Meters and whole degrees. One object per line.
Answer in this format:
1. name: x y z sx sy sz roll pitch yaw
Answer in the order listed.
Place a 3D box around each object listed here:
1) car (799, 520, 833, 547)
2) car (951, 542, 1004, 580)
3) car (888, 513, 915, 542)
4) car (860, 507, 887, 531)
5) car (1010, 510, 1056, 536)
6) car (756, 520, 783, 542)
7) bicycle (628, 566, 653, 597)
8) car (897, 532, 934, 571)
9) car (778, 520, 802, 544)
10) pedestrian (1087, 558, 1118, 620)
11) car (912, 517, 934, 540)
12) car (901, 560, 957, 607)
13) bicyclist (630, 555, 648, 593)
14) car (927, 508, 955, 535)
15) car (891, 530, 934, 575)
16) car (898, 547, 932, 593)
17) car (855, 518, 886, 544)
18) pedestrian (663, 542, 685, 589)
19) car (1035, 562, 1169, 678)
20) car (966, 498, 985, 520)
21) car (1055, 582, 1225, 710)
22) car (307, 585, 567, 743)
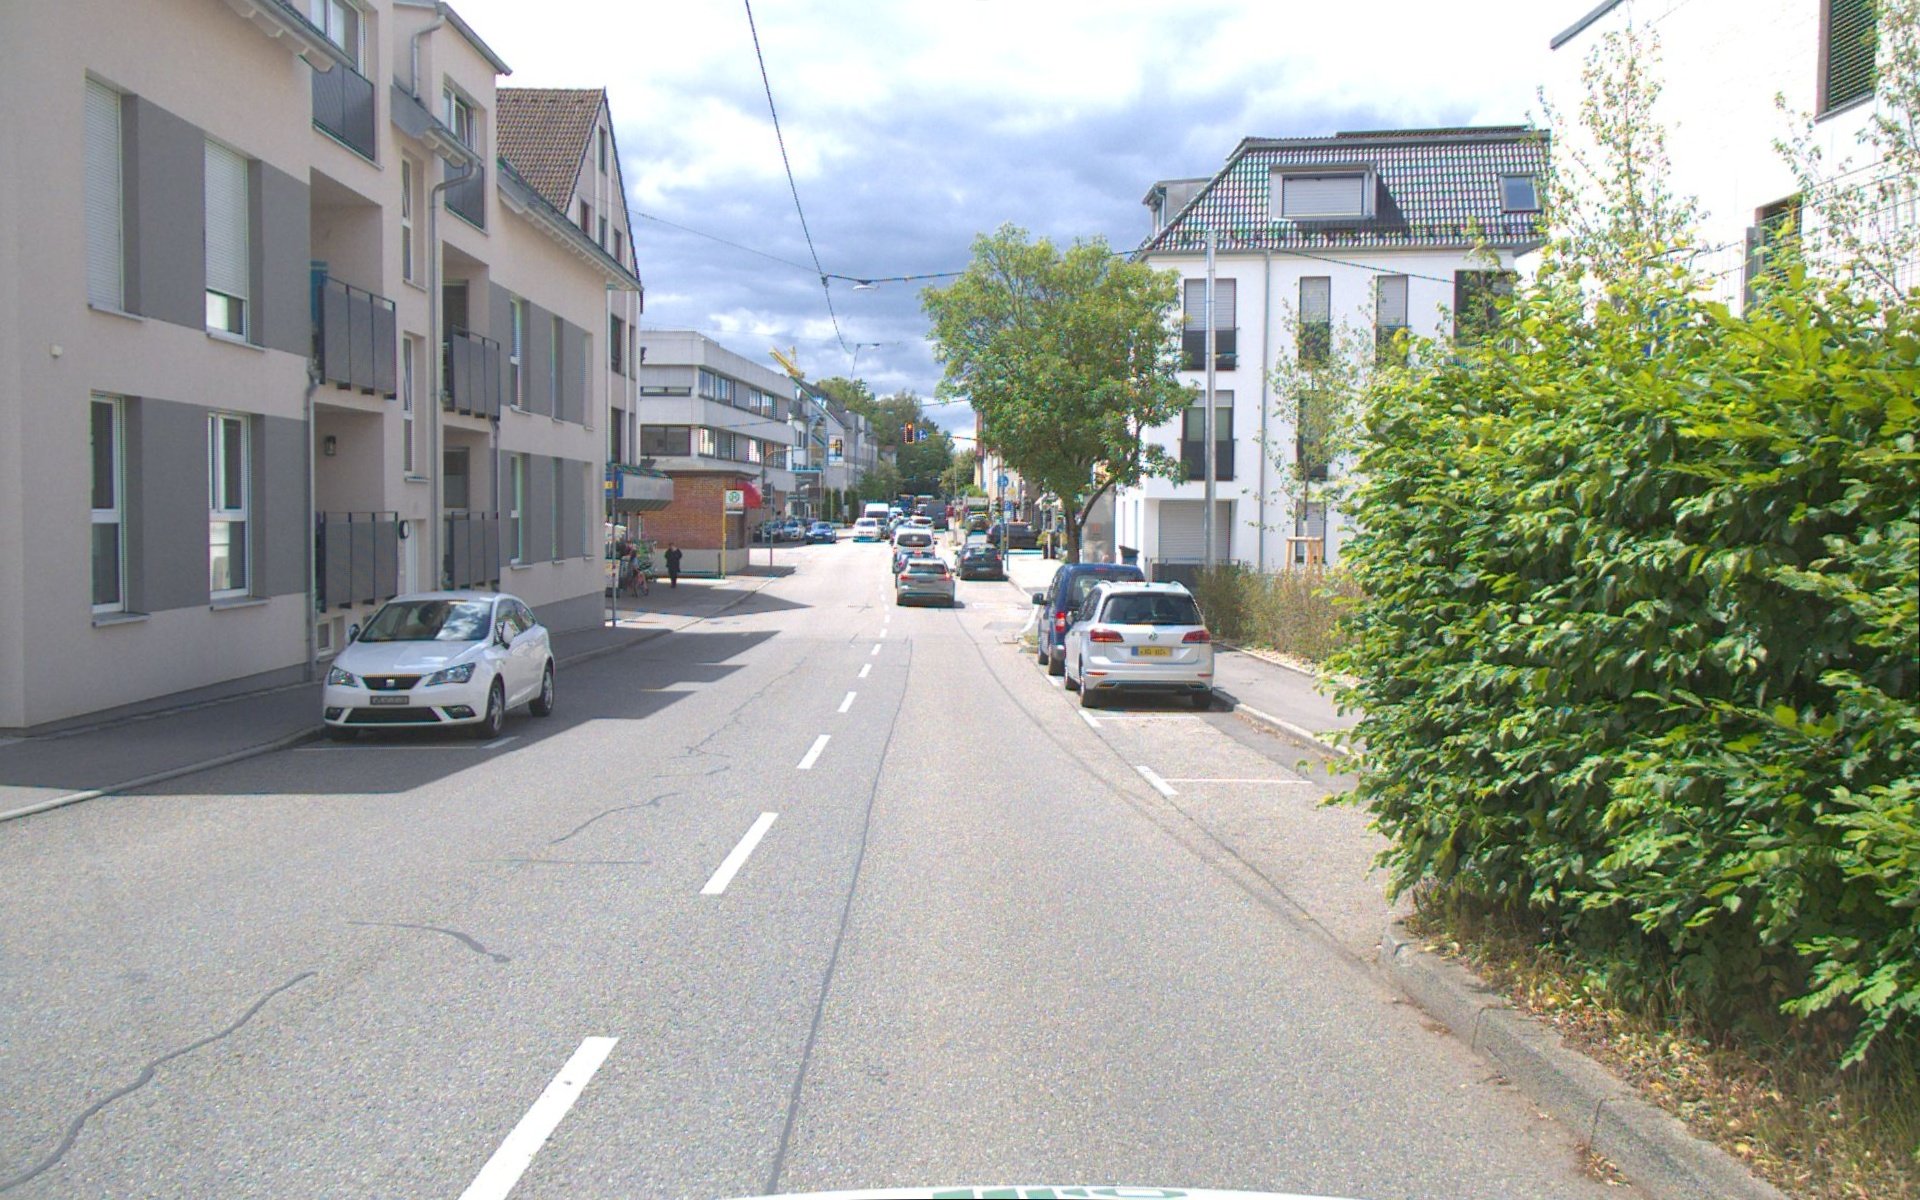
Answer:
1. car: -9.715 -4.516 111.940 1.834 1.668 4.001 2 1 1
2. car: 0.699 -1.640 68.913 1.719 1.394 3.996 1 3 -6
3. car: -3.695 -4.556 104.529 1.602 1.684 3.850 1 1 -1
4. car: -6.801 -6.353 130.103 1.834 1.668 4.001 1 1 1
5. car: 5.230 -5.532 118.722 1.544 1.642 3.648 3 1 35
6. car: -12.790 -4.613 111.154 1.520 1.400 3.398 1 1 -1
7. bicycle: -10.059 -0.582 52.036 0.457 0.876 1.777 2 3 -1
8. car: -2.223 -2.447 83.560 1.799 1.894 3.850 1 1 -1
9. car: -11.927 -4.775 116.270 1.356 1.567 3.398 1 1 -1
10. pedestrian: 3.894 -0.296 45.173 0.723 1.676 0.615 0 1 -9
11. car: -2.861 -5.504 127.875 1.602 1.684 3.850 1 1 -1
12. car: -1.003 -0.569 53.375 1.709 1.441 4.000 0 1 -1
13. bicyclist: -10.094 -0.826 52.040 0.448 1.199 0.625 0 1 -1
14. car: -1.770 -7.218 152.984 2.387 2.358 5.326 2 2 -1
15. car: -2.057 -2.091 72.715 1.799 1.894 3.850 1 1 -1
16. car: -1.685 -1.144 62.439 1.248 1.553 3.051 0 4 -2
17. car: -6.217 -4.802 115.633 1.834 1.668 4.001 2 1 1
18. pedestrian: -10.039 -1.227 58.062 0.615 1.630 0.563 1 1 3
19. car: 2.343 0.289 28.381 1.807 1.798 4.514 1 1 -1
20. car: 1.556 -9.138 166.488 1.765 2.049 3.999 1 1 -1
21. car: 2.359 0.552 22.706 1.750 1.535 4.364 1 1 -1
22. car: -5.396 0.588 17.531 1.614 1.443 3.698 1 1 -1
